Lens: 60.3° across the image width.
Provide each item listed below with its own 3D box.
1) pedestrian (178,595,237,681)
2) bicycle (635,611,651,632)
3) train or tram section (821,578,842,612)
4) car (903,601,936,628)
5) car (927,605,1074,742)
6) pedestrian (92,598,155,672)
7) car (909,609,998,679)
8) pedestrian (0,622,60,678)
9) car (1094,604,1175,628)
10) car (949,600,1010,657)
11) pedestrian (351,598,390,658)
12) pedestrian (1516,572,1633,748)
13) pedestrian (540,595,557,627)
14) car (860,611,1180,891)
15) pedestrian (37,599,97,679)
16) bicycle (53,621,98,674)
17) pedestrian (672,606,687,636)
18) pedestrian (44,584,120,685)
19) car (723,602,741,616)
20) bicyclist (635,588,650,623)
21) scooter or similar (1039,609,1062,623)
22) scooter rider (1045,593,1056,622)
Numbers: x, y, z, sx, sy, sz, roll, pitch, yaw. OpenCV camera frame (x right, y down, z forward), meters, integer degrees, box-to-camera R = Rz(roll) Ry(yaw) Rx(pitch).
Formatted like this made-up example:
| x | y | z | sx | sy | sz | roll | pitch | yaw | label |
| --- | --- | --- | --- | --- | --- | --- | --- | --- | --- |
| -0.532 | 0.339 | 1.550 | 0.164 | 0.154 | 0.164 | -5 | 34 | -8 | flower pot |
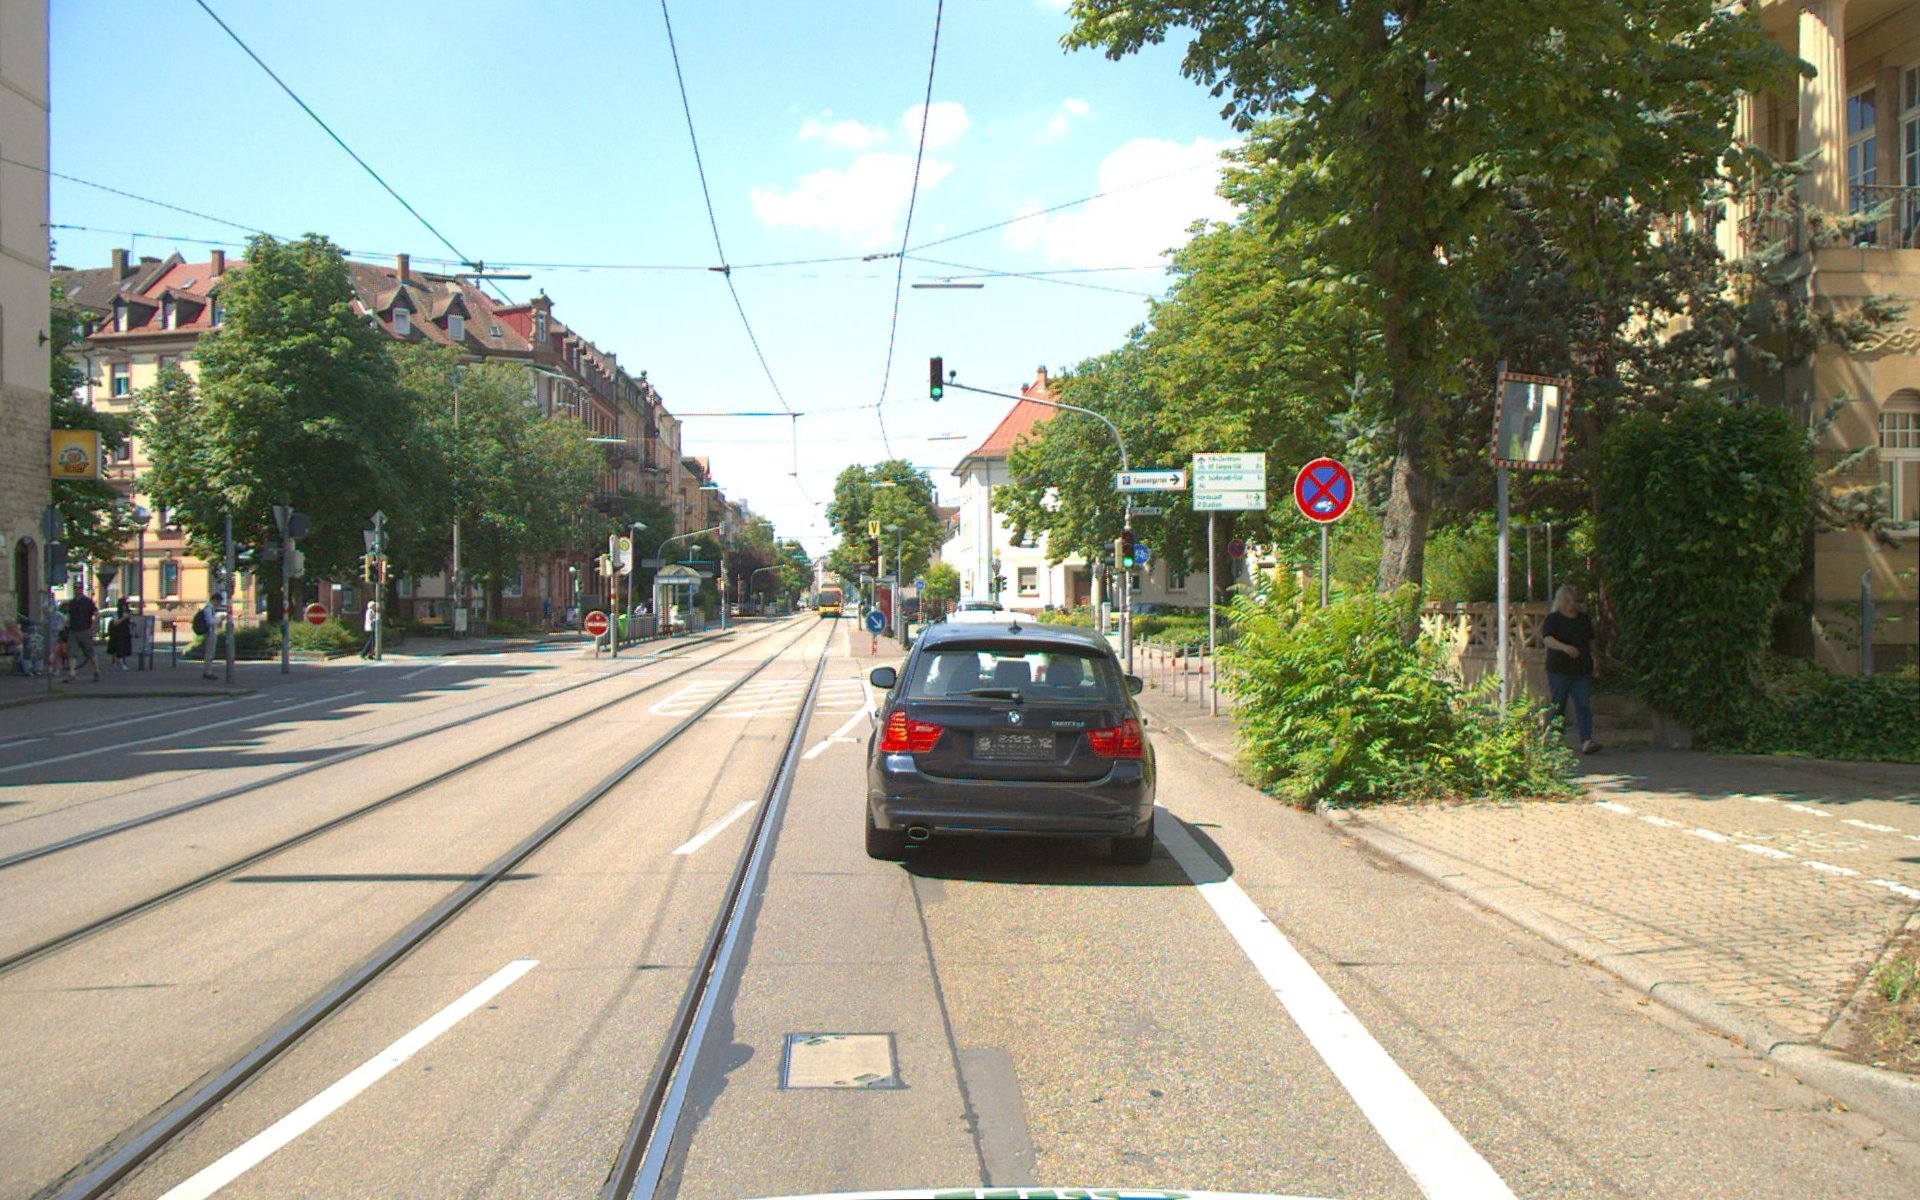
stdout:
| x | y | z | sx | sy | sz | roll | pitch | yaw | label |
| --- | --- | --- | --- | --- | --- | --- | --- | --- | --- |
| -15.668 | 0.780 | 34.457 | 0.842 | 1.763 | 0.775 | 1 | 0 | -2 | pedestrian |
| -17.516 | 1.176 | 91.352 | 0.714 | 1.121 | 1.713 | 0 | 0 | -5 | bicycle |
| -13.649 | -0.508 | 176.041 | 2.147 | 3.543 | 8.837 | -1 | 0 | -4 | train or tram section |
| -2.958 | 1.039 | 119.940 | 1.956 | 1.881 | 3.993 | 0 | 0 | -8 | car |
| 0.454 | 0.838 | 20.566 | 1.650 | 1.510 | 3.684 | -1 | 0 | 0 | car |
| -19.055 | 0.793 | 37.692 | 1.003 | 1.664 | 0.862 | -1 | 0 | 29 | pedestrian |
| -0.189 | 0.876 | 34.523 | 1.657 | 1.346 | 3.818 | 0 | 0 | -3 | car |
| -18.909 | 1.001 | 33.496 | 0.897 | 1.096 | 0.882 | 0 | 0 | -3 | pedestrian |
| 9.170 | 0.838 | 86.875 | 3.914 | 1.265 | 1.620 | -1 | 0 | 31 | car |
| 0.521 | 0.771 | 46.633 | 1.657 | 1.540 | 3.821 | 0 | 0 | 0 | car |
| -17.528 | 0.833 | 49.172 | 0.833 | 1.753 | 0.905 | 0 | 0 | -41 | pedestrian |
| 6.029 | 0.579 | 16.280 | 0.839 | 1.674 | 0.837 | -1 | 0 | 2 | pedestrian |
| -24.203 | 0.648 | 97.359 | 0.628 | 1.843 | 0.738 | -1 | 0 | 34 | pedestrian |
| 0.370 | 0.831 | 11.229 | 1.687 | 1.433 | 4.565 | 2 | 0 | 1 | car |
| -18.419 | 0.796 | 34.125 | 0.791 | 1.622 | 0.918 | 0 | 0 | -6 | pedestrian |
| -19.736 | 1.066 | 36.890 | 0.539 | 1.148 | 1.657 | 0 | -2 | -41 | bicycle |
| -11.741 | 0.884 | 69.327 | 0.602 | 1.264 | 0.626 | 0 | 0 | -10 | pedestrian |
| -16.951 | 0.656 | 31.971 | 0.883 | 1.924 | 1.163 | 1 | 0 | -5 | pedestrian |
| -26.625 | 1.088 | 193.081 | 1.756 | 1.614 | 3.987 | 1 | -1 | -12 | car |
| -17.507 | 0.295 | 91.270 | 0.708 | 1.903 | 0.824 | 0 | 0 | -5 | bicyclist |
| 5.418 | 0.957 | 98.944 | 1.288 | 0.852 | 0.525 | 0 | 0 | -10 | scooter or similar |
| 5.404 | 0.459 | 98.949 | 0.579 | 1.716 | 0.527 | 0 | 0 | -9 | scooter rider |
